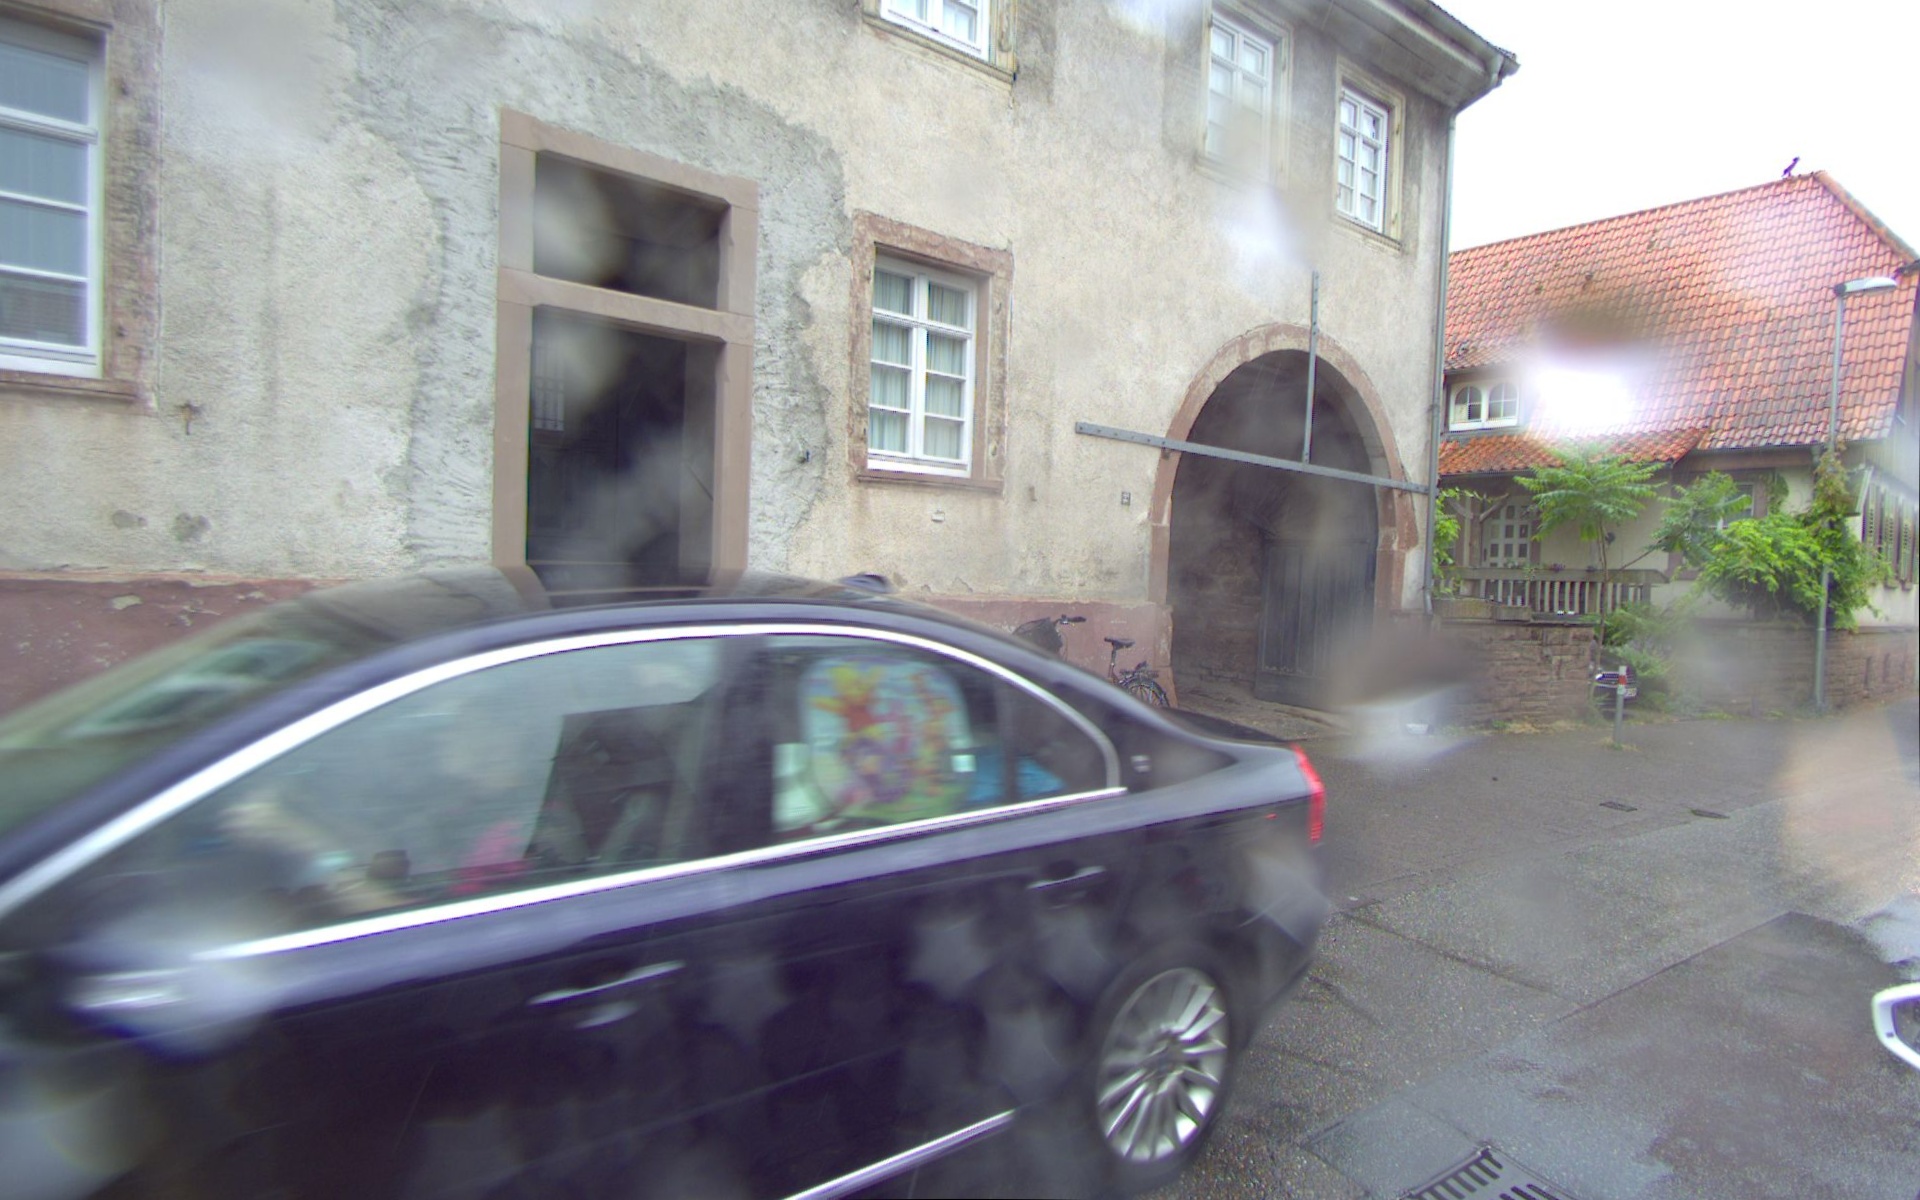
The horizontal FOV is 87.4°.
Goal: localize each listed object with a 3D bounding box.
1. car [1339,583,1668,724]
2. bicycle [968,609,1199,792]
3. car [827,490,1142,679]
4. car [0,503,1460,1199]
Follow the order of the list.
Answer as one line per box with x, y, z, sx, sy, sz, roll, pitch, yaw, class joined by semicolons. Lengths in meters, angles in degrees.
7.984;0.700;15.164;1.715;1.444;3.967;2;5;-30;car
0.955;0.685;7.454;1.858;1.194;0.478;1;4;-38;bicycle
0.155;-0.309;13.527;1.869;1.957;4.194;6;3;-37;car
-0.771;0.652;2.426;4.299;1.529;1.684;2;1;-36;car
